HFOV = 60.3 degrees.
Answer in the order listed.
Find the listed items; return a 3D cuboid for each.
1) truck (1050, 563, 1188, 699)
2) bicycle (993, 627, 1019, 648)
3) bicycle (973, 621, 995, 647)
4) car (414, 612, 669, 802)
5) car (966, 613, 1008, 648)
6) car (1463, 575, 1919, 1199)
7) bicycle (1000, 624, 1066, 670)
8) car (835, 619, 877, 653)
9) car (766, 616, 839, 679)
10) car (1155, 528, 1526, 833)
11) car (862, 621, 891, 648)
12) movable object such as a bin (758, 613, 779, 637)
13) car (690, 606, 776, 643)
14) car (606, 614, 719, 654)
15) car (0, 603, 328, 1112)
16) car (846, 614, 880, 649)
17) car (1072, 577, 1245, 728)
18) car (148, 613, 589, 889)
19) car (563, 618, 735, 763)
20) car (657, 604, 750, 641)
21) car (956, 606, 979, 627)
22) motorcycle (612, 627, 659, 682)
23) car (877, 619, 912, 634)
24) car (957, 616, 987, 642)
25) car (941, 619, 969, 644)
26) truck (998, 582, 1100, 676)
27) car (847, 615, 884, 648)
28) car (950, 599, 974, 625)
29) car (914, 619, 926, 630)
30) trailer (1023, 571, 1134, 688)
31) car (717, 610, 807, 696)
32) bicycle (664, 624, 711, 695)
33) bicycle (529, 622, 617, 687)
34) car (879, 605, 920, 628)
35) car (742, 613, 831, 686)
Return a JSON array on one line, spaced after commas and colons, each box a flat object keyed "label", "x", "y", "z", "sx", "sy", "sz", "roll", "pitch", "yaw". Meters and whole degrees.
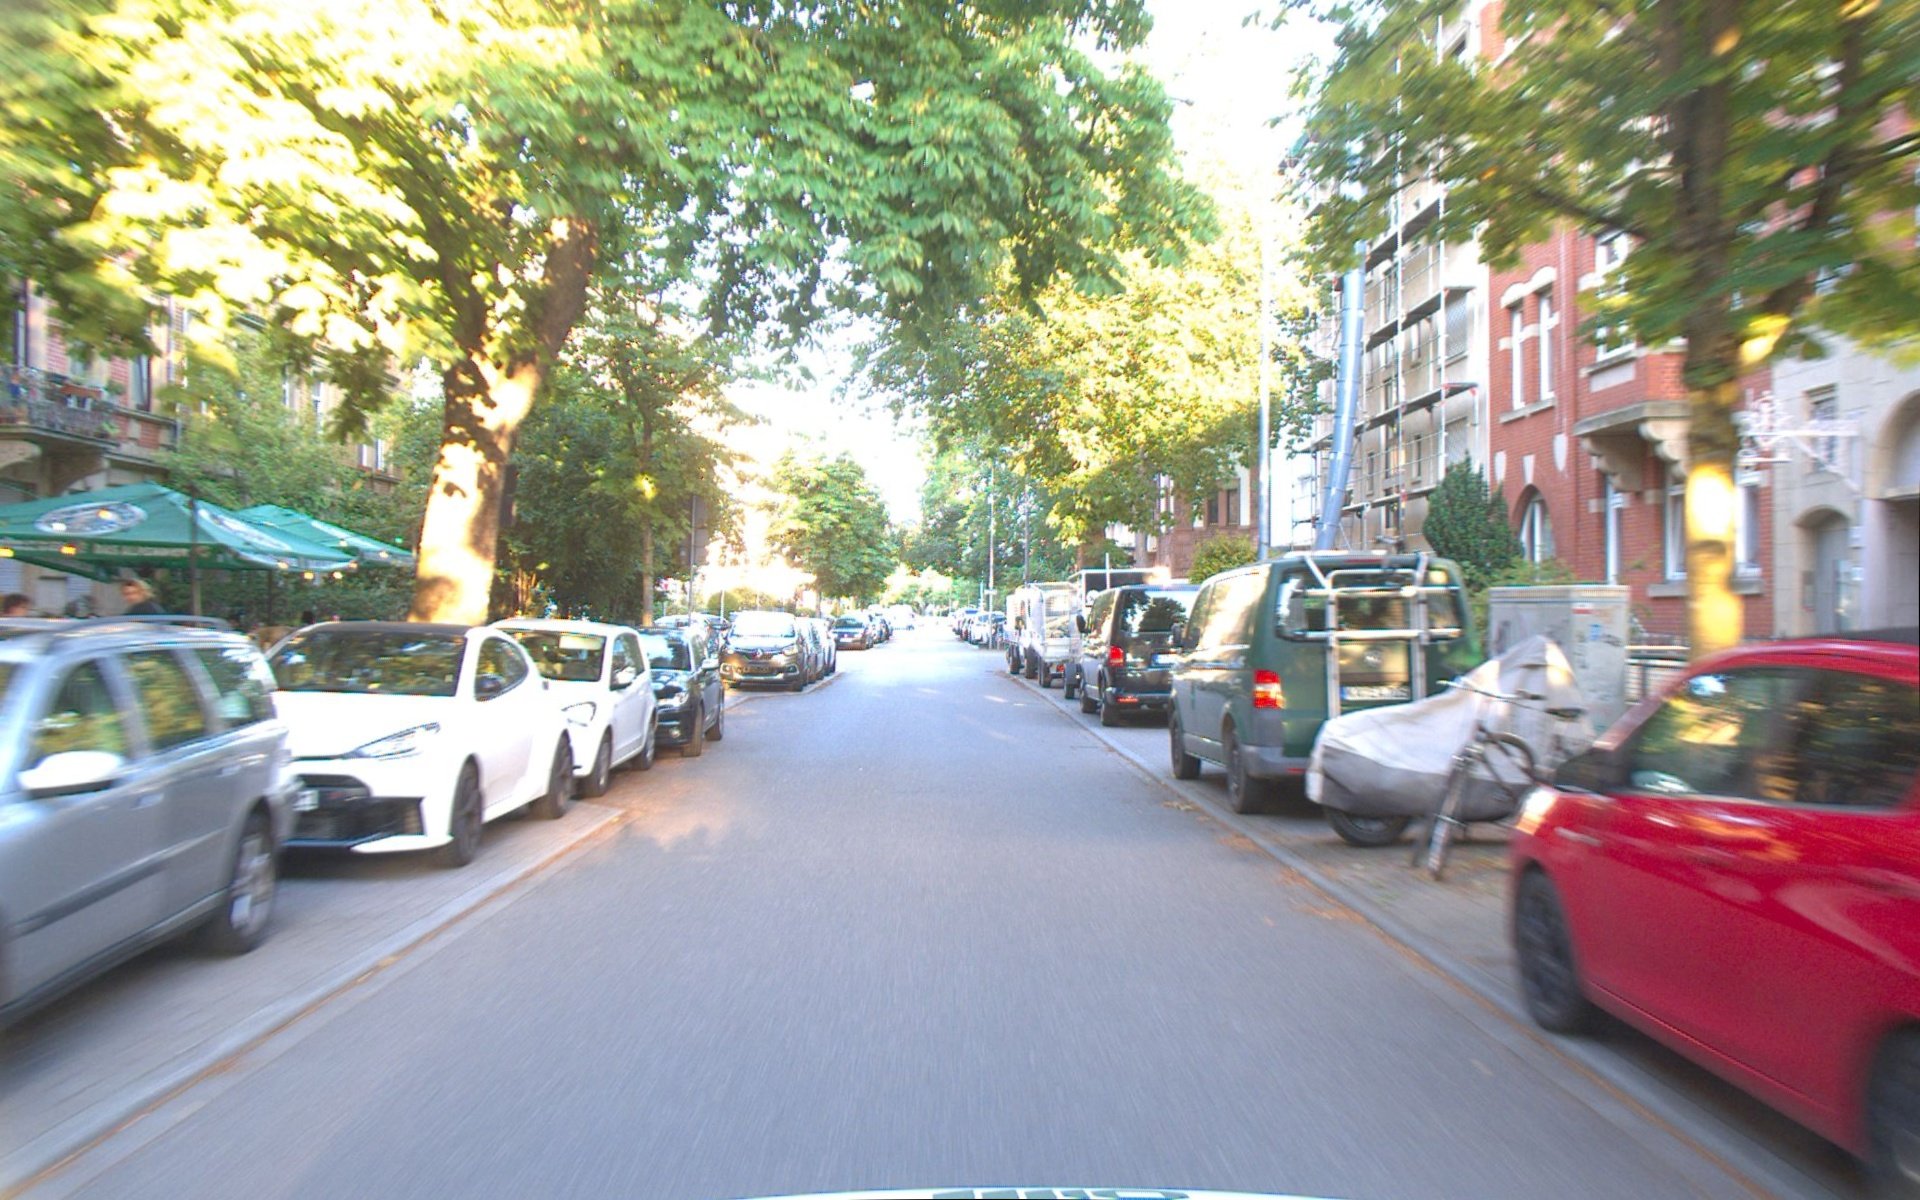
[{"label": "truck", "x": 2.909, "y": 0.533, "z": 31.249, "sx": 1.915, "sy": 2.285, "sz": 4.643, "roll": -3, "pitch": 0, "yaw": -2}, {"label": "bicycle", "x": 2.140, "y": 1.741, "z": 76.949, "sx": 1.210, "sy": 0.968, "sz": 0.327, "roll": -1, "pitch": 0, "yaw": -29}, {"label": "bicycle", "x": 1.103, "y": 1.594, "z": 77.145, "sx": 0.434, "sy": 1.193, "sz": 1.635, "roll": 0, "pitch": -1, "yaw": 23}, {"label": "car", "x": -3.832, "y": 0.912, "z": 15.736, "sx": 1.520, "sy": 1.511, "sz": 3.692, "roll": 2, "pitch": 0, "yaw": -2}, {"label": "car", "x": 1.381, "y": 1.592, "z": 86.218, "sx": 1.762, "sy": 1.741, "sz": 4.597, "roll": 0, "pitch": -1, "yaw": -4}, {"label": "car", "x": 2.924, "y": 0.711, "z": 4.862, "sx": 1.631, "sy": 1.526, "sz": 3.693, "roll": -3, "pitch": 0, "yaw": -1}, {"label": "bicycle", "x": 2.171, "y": 1.409, "z": 49.321, "sx": 1.866, "sy": 1.280, "sz": 0.406, "roll": -2, "pitch": -1, "yaw": -7}, {"label": "car", "x": -4.677, "y": 1.613, "z": 74.901, "sx": 1.583, "sy": 1.496, "sz": 3.961, "roll": 0, "pitch": 0, "yaw": 1}, {"label": "car", "x": -4.261, "y": 1.262, "z": 45.408, "sx": 1.656, "sy": 1.528, "sz": 4.736, "roll": 2, "pitch": 0, "yaw": -2}, {"label": "car", "x": 3.021, "y": 0.568, "z": 14.285, "sx": 1.915, "sy": 2.094, "sz": 4.829, "roll": -3, "pitch": 0, "yaw": -1}, {"label": "car", "x": -5.205, "y": 2.154, "z": 103.066, "sx": 1.681, "sy": 1.594, "sz": 3.787, "roll": 0, "pitch": 0, "yaw": -1}, {"label": "movable object such as a bin", "x": -11.300, "y": 1.474, "z": 97.728, "sx": 0.991, "sy": 1.344, "sz": 1.005, "roll": 2, "pitch": 0, "yaw": 3}, {"label": "car", "x": -11.213, "y": 1.210, "z": 81.950, "sx": 4.011, "sy": 1.554, "sz": 1.708, "roll": 3, "pitch": -1, "yaw": -3}, {"label": "car", "x": -11.621, "y": 1.330, "z": 64.640, "sx": 4.005, "sy": 1.472, "sz": 1.710, "roll": 0, "pitch": 0, "yaw": 7}, {"label": "car", "x": -3.815, "y": 0.752, "z": 5.883, "sx": 1.805, "sy": 1.436, "sz": 4.593, "roll": 1, "pitch": 0, "yaw": -7}, {"label": "car", "x": -4.701, "y": 1.509, "z": 79.777, "sx": 1.564, "sy": 1.631, "sz": 3.740, "roll": 0, "pitch": 0, "yaw": -5}, {"label": "car", "x": 2.877, "y": 0.716, "z": 24.943, "sx": 1.802, "sy": 1.976, "sz": 4.611, "roll": -3, "pitch": 0, "yaw": -2}, {"label": "car", "x": -3.739, "y": 0.860, "z": 11.185, "sx": 1.571, "sy": 1.460, "sz": 3.884, "roll": 2, "pitch": 0, "yaw": -1}, {"label": "car", "x": -3.640, "y": 1.007, "z": 19.873, "sx": 1.520, "sy": 1.511, "sz": 3.692, "roll": -1, "pitch": 0, "yaw": -3}, {"label": "car", "x": -10.779, "y": 0.926, "z": 69.581, "sx": 3.487, "sy": 1.472, "sz": 1.819, "roll": 0, "pitch": 0, "yaw": 7}, {"label": "car", "x": 0.586, "y": 1.244, "z": 125.899, "sx": 1.508, "sy": 1.548, "sz": 3.429, "roll": 0, "pitch": -1, "yaw": -4}, {"label": "motorcycle", "x": -7.751, "y": 1.284, "z": 39.606, "sx": 0.570, "sy": 1.176, "sz": 2.891, "roll": 2, "pitch": 1, "yaw": -1}, {"label": "car", "x": -6.754, "y": 2.684, "z": 169.537, "sx": 3.548, "sy": 1.487, "sz": 1.605, "roll": 0, "pitch": 0, "yaw": -5}, {"label": "car", "x": 0.745, "y": 1.757, "z": 101.449, "sx": 1.653, "sy": 1.466, "sz": 4.208, "roll": -2, "pitch": -1, "yaw": -2}, {"label": "car", "x": -0.356, "y": 2.054, "z": 109.266, "sx": 1.653, "sy": 1.634, "sz": 3.936, "roll": 0, "pitch": -1, "yaw": -4}, {"label": "truck", "x": 2.249, "y": 0.764, "z": 43.764, "sx": 1.938, "sy": 2.284, "sz": 6.771, "roll": 0, "pitch": -1, "yaw": -3}, {"label": "car", "x": -5.205, "y": 1.700, "z": 91.232, "sx": 1.882, "sy": 1.747, "sz": 4.426, "roll": 0, "pitch": 0, "yaw": -1}, {"label": "car", "x": 0.166, "y": 0.938, "z": 130.040, "sx": 1.647, "sy": 1.975, "sz": 3.877, "roll": 0, "pitch": -1, "yaw": -4}, {"label": "car", "x": -5.866, "y": 3.608, "z": 244.342, "sx": 1.776, "sy": 1.624, "sz": 3.481, "roll": 0, "pitch": 0, "yaw": -1}, {"label": "trailer", "x": 2.544, "y": 0.618, "z": 36.686, "sx": 1.915, "sy": 2.335, "sz": 4.643, "roll": -3, "pitch": 0, "yaw": -2}, {"label": "car", "x": -4.103, "y": 1.061, "z": 34.790, "sx": 1.657, "sy": 1.591, "sz": 4.398, "roll": 2, "pitch": 0, "yaw": -5}, {"label": "bicycle", "x": -5.204, "y": 1.119, "z": 31.625, "sx": 0.472, "sy": 1.277, "sz": 1.900, "roll": 3, "pitch": 0, "yaw": 1}, {"label": "bicycle", "x": -8.224, "y": 1.147, "z": 35.250, "sx": 0.593, "sy": 1.307, "sz": 2.486, "roll": -1, "pitch": -1, "yaw": 18}, {"label": "car", "x": -6.286, "y": 1.722, "z": 172.264, "sx": 4.263, "sy": 2.359, "sz": 1.744, "roll": 0, "pitch": -1, "yaw": -3}, {"label": "car", "x": -4.101, "y": 1.167, "z": 39.707, "sx": 1.656, "sy": 1.528, "sz": 4.401, "roll": 4, "pitch": -1, "yaw": -1}]
